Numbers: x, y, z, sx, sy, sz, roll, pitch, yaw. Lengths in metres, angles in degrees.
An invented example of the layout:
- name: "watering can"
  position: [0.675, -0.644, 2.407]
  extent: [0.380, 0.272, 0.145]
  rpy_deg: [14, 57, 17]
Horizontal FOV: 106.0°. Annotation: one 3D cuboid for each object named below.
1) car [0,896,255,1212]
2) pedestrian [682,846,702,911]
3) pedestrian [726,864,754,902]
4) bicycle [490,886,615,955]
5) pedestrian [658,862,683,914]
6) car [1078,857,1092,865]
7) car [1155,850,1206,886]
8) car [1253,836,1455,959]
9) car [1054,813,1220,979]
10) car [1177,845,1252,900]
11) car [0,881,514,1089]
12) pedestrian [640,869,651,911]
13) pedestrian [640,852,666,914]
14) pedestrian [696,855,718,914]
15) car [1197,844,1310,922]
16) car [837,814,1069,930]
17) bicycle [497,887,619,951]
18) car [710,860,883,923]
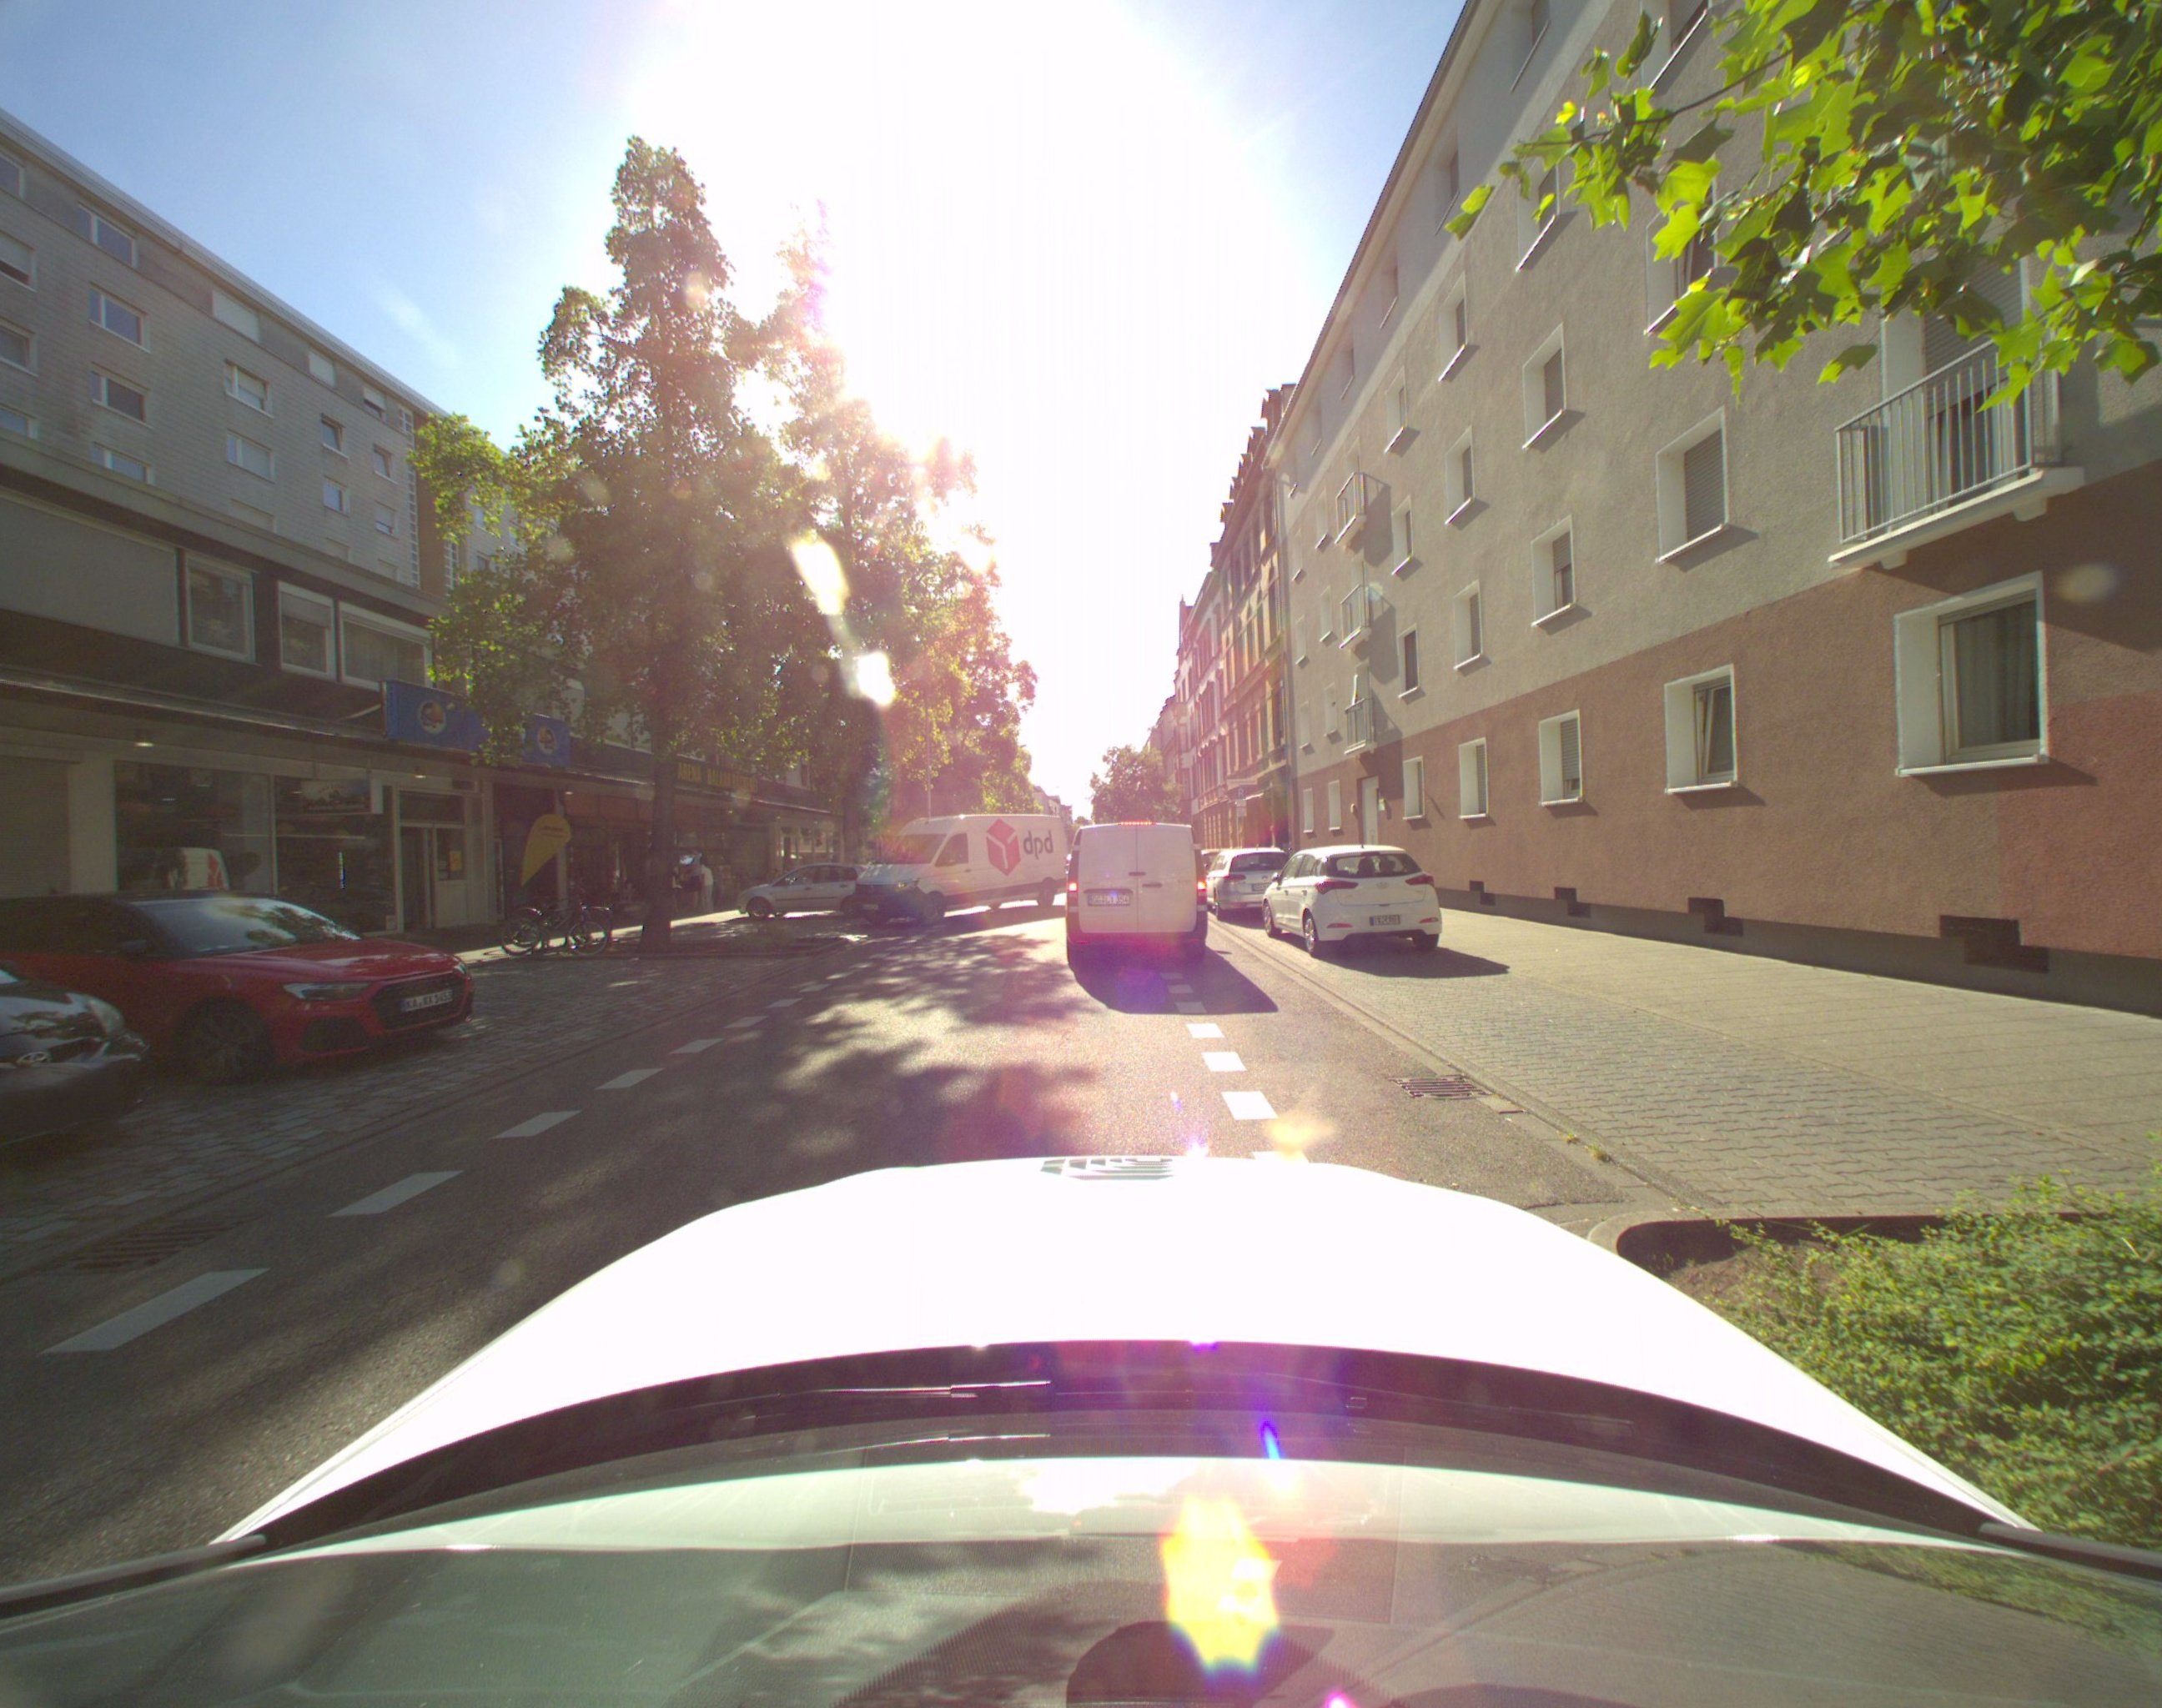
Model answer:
- name: "car"
  position: [-7.025, 1.015, 4.242]
  extent: [3.657, 1.450, 1.611]
  rpy_deg: [-1, 0, -3]
- name: "pedestrian"
  position: [-11.557, 0.726, 24.182]
  extent: [0.389, 1.934, 0.361]
  rpy_deg: [-1, -1, 2]
- name: "pedestrian"
  position: [-12.230, 1.035, 29.210]
  extent: [0.721, 1.330, 0.703]
  rpy_deg: [-1, -1, -2]
- name: "bicycle"
  position: [-8.880, 1.105, 13.714]
  extent: [1.711, 1.117, 0.623]
  rpy_deg: [0, 0, 3]
- name: "pedestrian"
  position: [-11.874, 0.982, 23.548]
  extent: [0.467, 1.473, 0.420]
  rpy_deg: [-2, 0, -2]
- name: "car"
  position: [0.498, 0.859, 100.186]
  extent: [1.605, 0.967, 4.000]
  rpy_deg: [-2, 0, 0]
- name: "car"
  position: [4.333, 0.586, 36.004]
  extent: [1.733, 1.451, 4.000]
  rpy_deg: [-2, 0, 0]
- name: "car"
  position: [3.938, 0.564, 12.450]
  extent: [1.726, 1.486, 3.794]
  rpy_deg: [-4, 0, 0]
- name: "car"
  position: [0.711, 0.482, 11.956]
  extent: [1.914, 1.914, 4.889]
  rpy_deg: [-1, 0, 1]
- name: "car"
  position: [3.996, 0.520, 24.881]
  extent: [1.703, 1.480, 3.711]
  rpy_deg: [-2, 0, 1]
- name: "car"
  position: [-7.334, 1.012, 6.896]
  extent: [3.900, 1.450, 1.712]
  rpy_deg: [-1, 0, 4]
- name: "pedestrian"
  position: [-13.211, 1.085, 24.696]
  extent: [0.212, 1.244, 0.215]
  rpy_deg: [-1, -1, 2]
- name: "pedestrian"
  position: [-12.600, 0.837, 23.977]
  extent: [0.483, 1.782, 0.427]
  rpy_deg: [-3, 0, -2]
- name: "pedestrian"
  position: [-10.906, 0.879, 23.773]
  extent: [0.389, 1.705, 0.502]
  rpy_deg: [-1, -1, 2]
- name: "car"
  position: [3.758, 0.574, 18.498]
  extent: [1.778, 1.460, 4.520]
  rpy_deg: [-3, 0, 3]
- name: "car"
  position: [-2.922, 0.345, 20.775]
  extent: [1.974, 2.474, 6.646]
  rpy_deg: [-2, 0, 31]
- name: "bicycle"
  position: [-9.416, 1.156, 14.696]
  extent: [1.860, 1.106, 0.587]
  rpy_deg: [0, 0, 3]
- name: "car"
  position: [-7.608, 0.981, 22.064]
  extent: [3.975, 1.457, 1.860]
  rpy_deg: [-2, 0, -1]
